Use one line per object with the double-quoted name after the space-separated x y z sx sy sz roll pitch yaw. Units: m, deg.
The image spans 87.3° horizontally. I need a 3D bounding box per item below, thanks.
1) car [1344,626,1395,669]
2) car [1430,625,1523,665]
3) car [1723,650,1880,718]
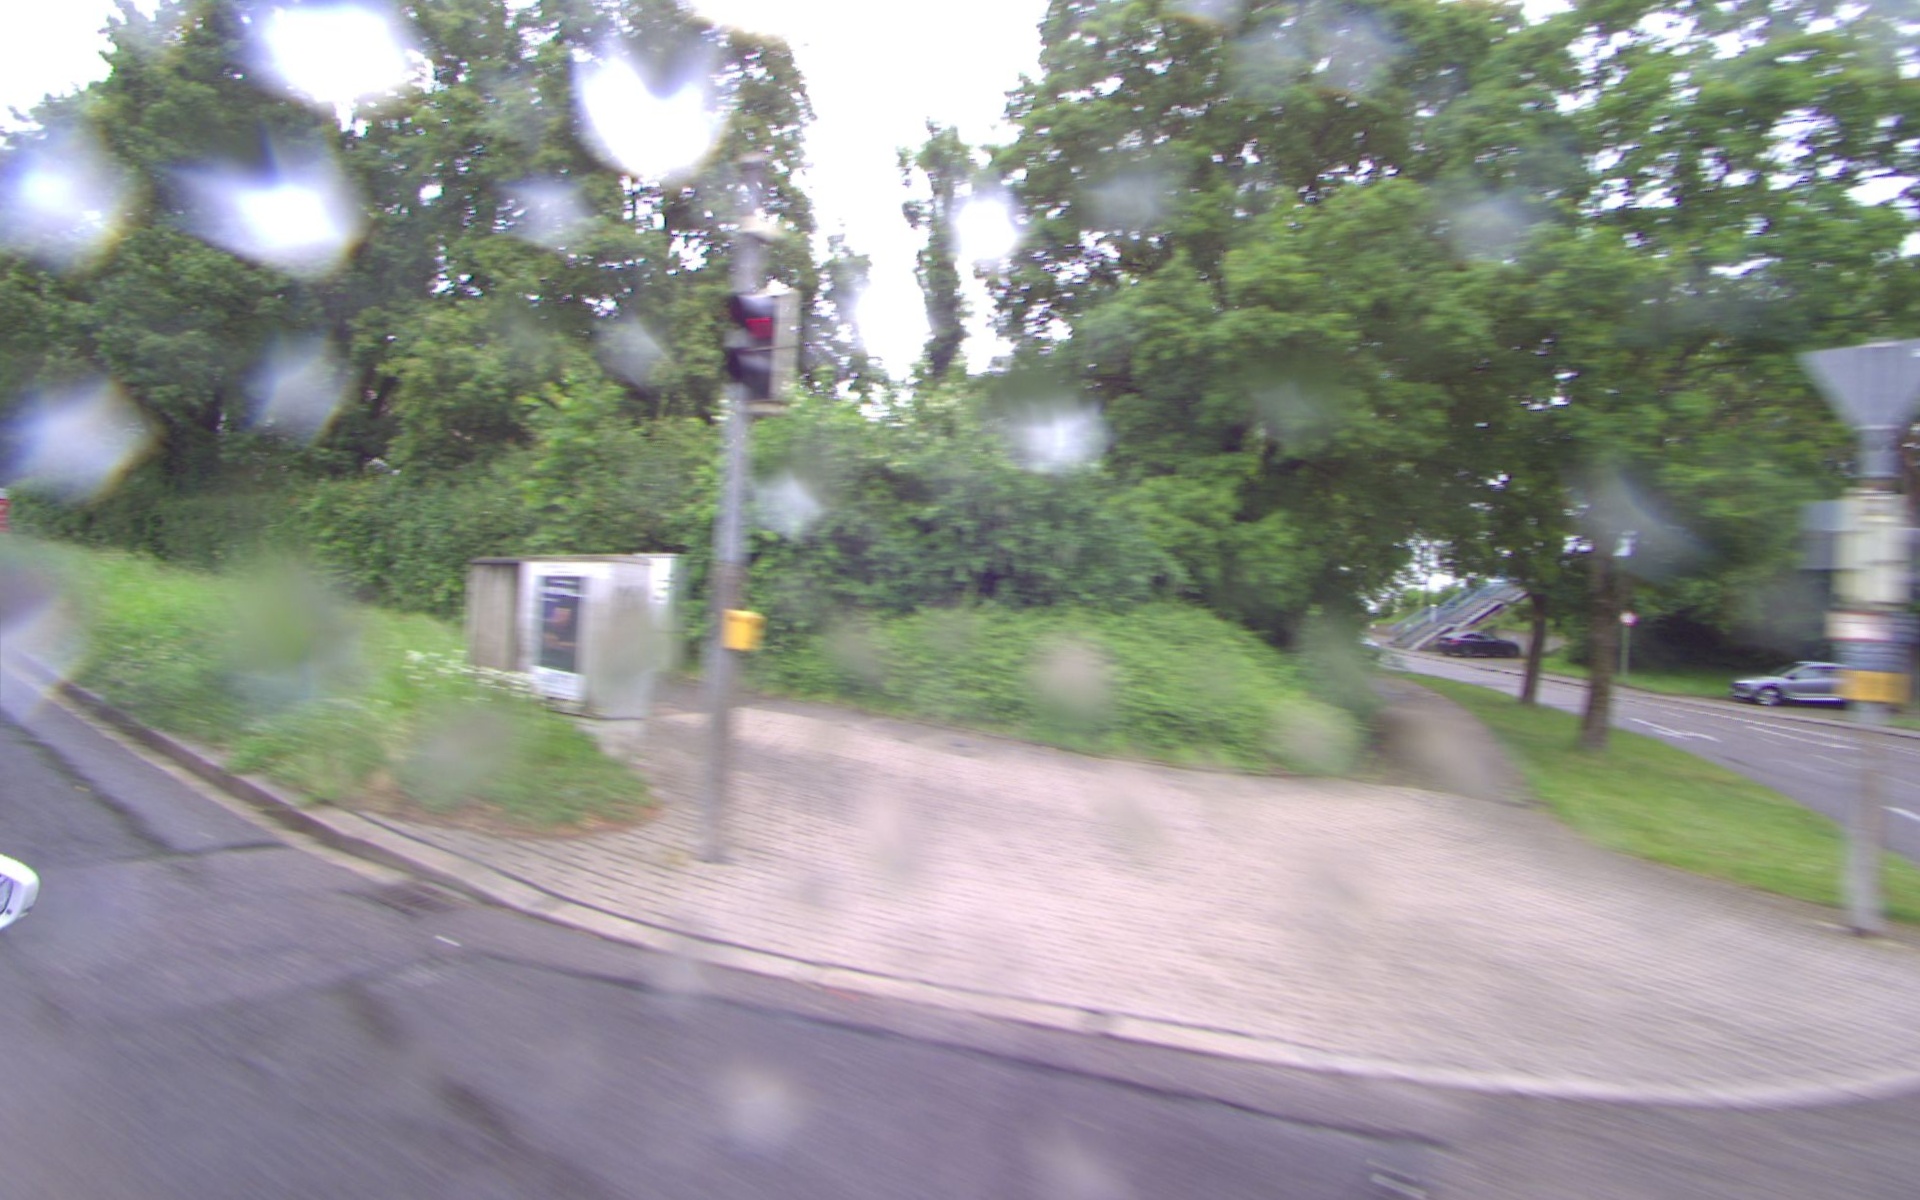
17.849 2.027 43.862 1.795 1.591 3.996 7 1 23 "car"
27.955 2.429 54.501 3.930 1.669 1.954 6 1 -7 "car"
31.380 3.092 37.677 3.928 1.924 1.954 7 2 25 "car"
